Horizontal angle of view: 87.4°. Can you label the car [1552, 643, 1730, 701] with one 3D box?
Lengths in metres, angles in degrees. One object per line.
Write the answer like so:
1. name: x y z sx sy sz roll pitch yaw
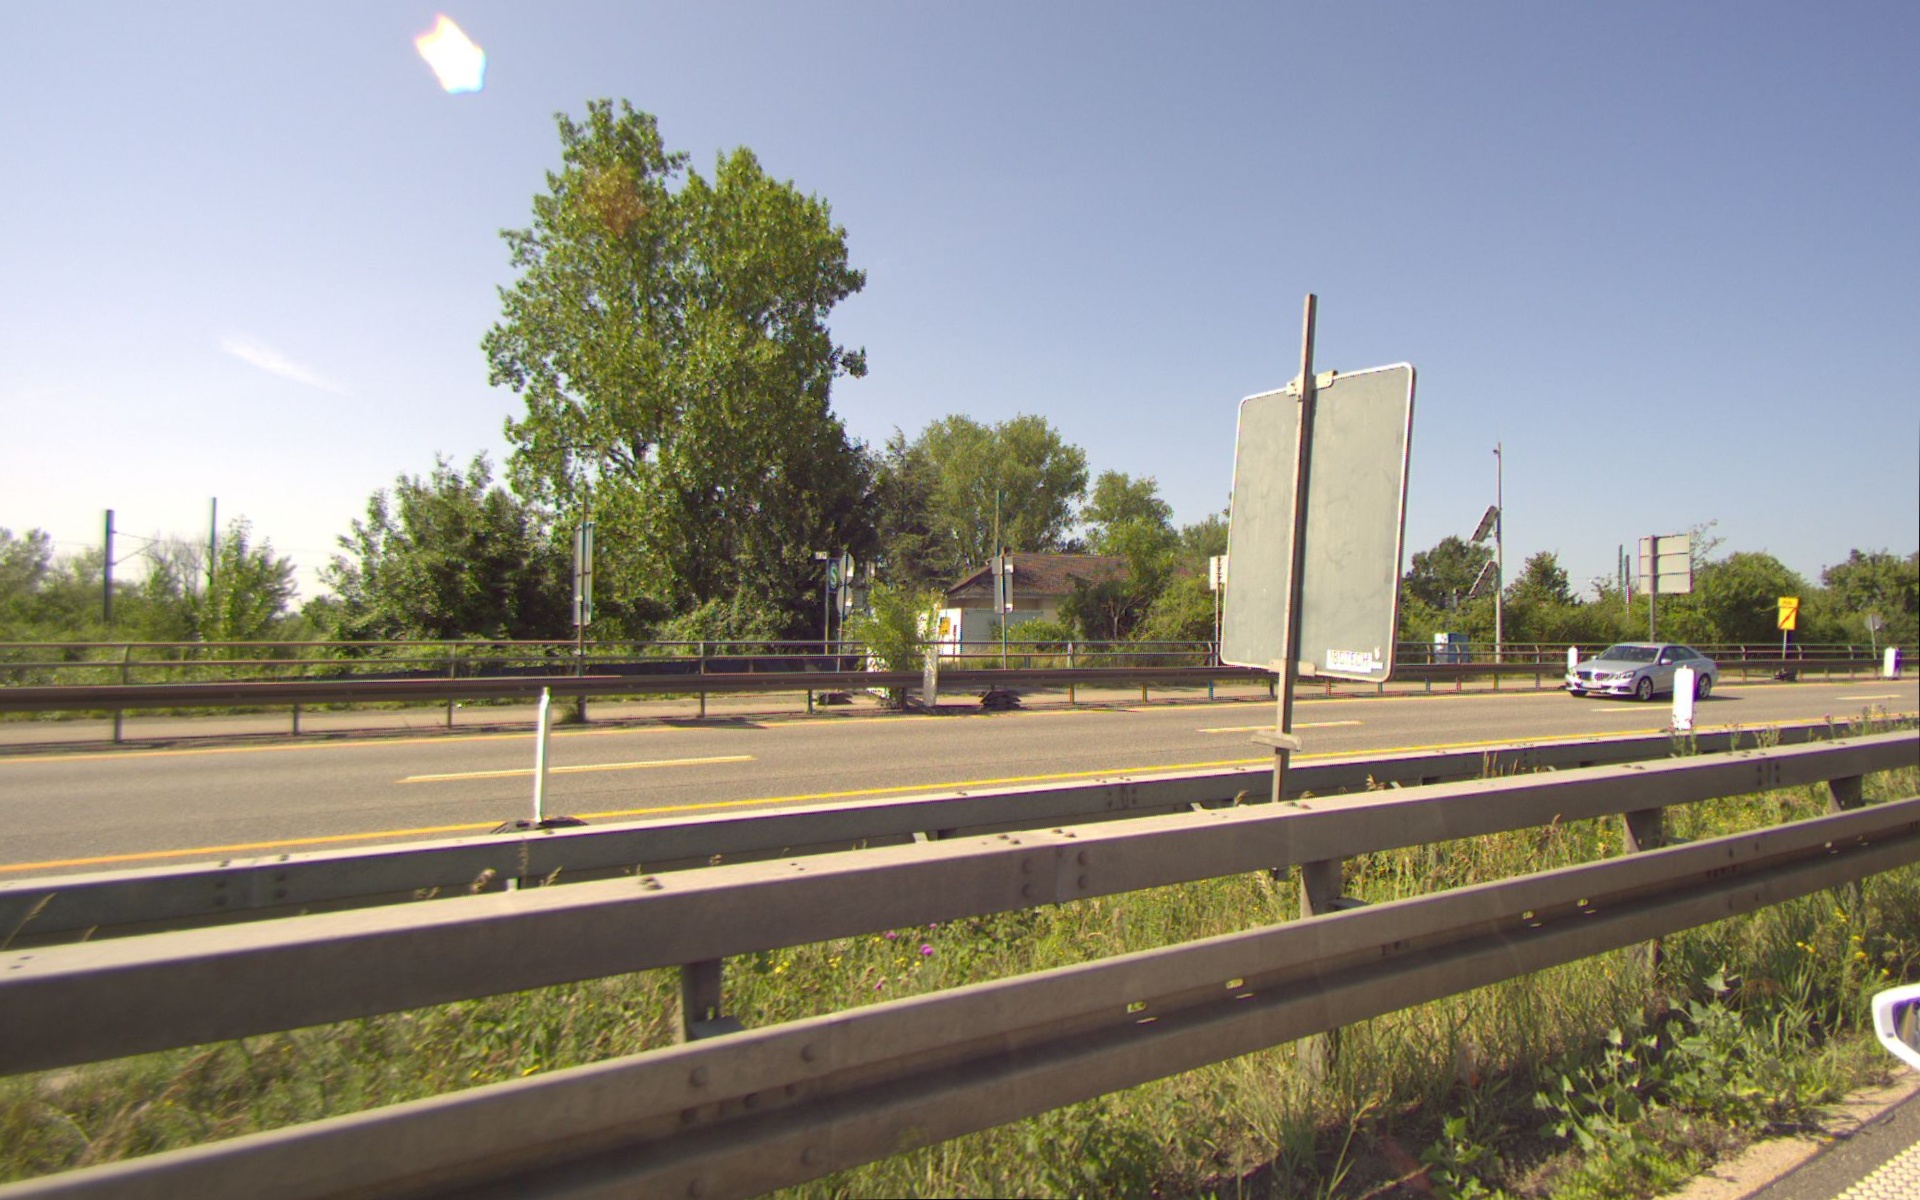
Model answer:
1. car: 18.507 1.891 27.269 4.795 1.439 1.879 1 -2 -26
